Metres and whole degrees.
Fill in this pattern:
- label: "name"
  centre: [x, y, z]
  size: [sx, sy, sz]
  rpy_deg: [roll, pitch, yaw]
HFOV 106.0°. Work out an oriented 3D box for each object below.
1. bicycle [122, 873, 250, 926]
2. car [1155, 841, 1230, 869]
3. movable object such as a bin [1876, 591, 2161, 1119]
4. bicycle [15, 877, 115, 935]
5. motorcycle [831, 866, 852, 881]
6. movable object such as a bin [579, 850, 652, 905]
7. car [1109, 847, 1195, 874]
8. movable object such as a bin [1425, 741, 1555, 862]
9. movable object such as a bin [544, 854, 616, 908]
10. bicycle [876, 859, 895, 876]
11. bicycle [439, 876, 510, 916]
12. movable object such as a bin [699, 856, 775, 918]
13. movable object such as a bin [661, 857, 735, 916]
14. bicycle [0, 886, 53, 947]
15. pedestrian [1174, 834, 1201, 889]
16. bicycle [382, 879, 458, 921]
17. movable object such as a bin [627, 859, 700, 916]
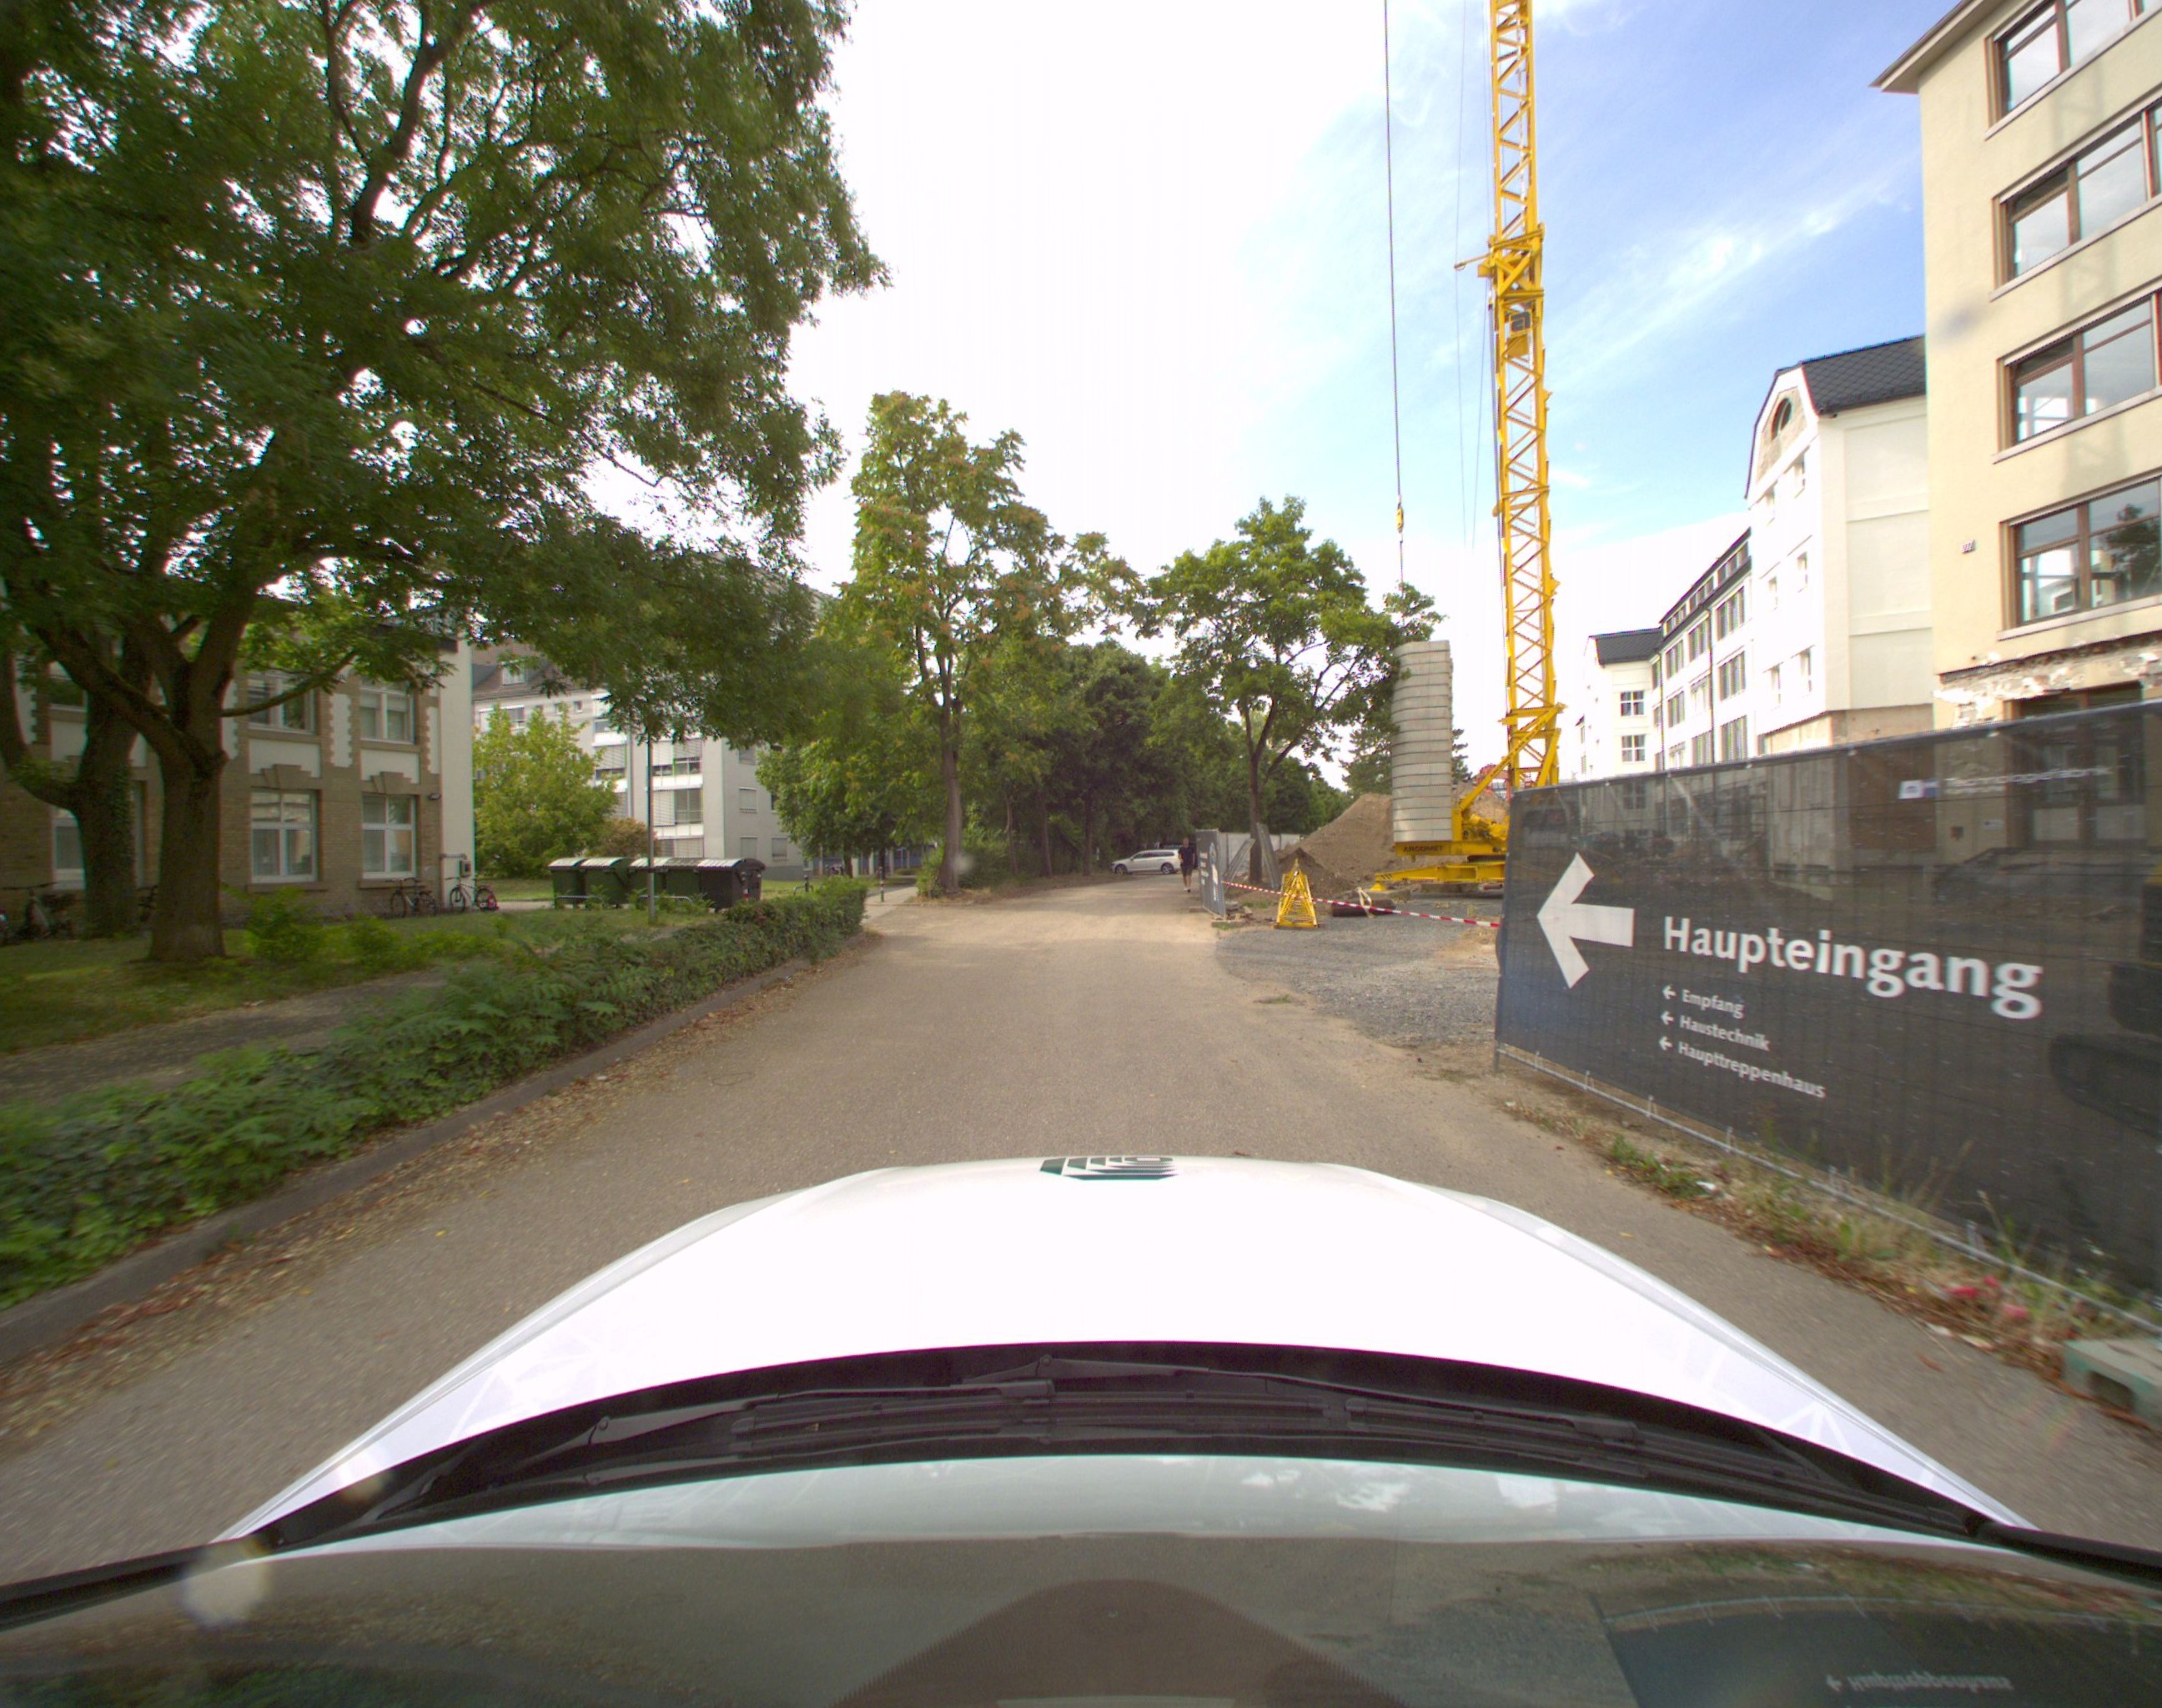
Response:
- label: "bicycle"
  centre: [-19.140, 0.963, 17.446]
  size: [1.967, 1.043, 0.594]
  rpy_deg: [-1, 0, -3]
- label: "car"
  centre: [8.105, 0.071, 59.173]
  size: [5.002, 1.953, 2.011]
  rpy_deg: [-1, 0, 21]
- label: "movable object such as a bin"
  centre: [6.231, -0.008, 3.629]
  size: [2.477, 2.443, 3.066]
  rpy_deg: [-1, 0, 6]
- label: "bicycle"
  centre: [-19.525, 0.974, 15.649]
  size: [1.954, 1.043, 0.598]
  rpy_deg: [-1, 0, 20]
- label: "motorcycle"
  centre: [-21.891, 1.798, 74.479]
  size: [0.660, 1.290, 2.159]
  rpy_deg: [-1, 0, 22]
- label: "movable object such as a bin"
  centre: [-12.378, 0.612, 21.682]
  size: [1.268, 1.430, 1.128]
  rpy_deg: [-1, 0, 23]
- label: "car"
  centre: [4.226, 0.370, 48.309]
  size: [4.755, 1.488, 2.009]
  rpy_deg: [-1, 0, 17]
- label: "movable object such as a bin"
  centre: [25.412, -2.959, 50.211]
  size: [3.809, 6.669, 11.052]
  rpy_deg: [-1, 0, 45]
- label: "movable object such as a bin"
  centre: [-13.649, 0.716, 22.199]
  size: [1.268, 1.430, 1.128]
  rpy_deg: [-1, 0, 23]
- label: "bicycle"
  centre: [-14.036, 0.982, 58.485]
  size: [0.645, 1.181, 1.905]
  rpy_deg: [-1, 0, 10]
- label: "bicycle"
  centre: [-16.680, 1.143, 22.394]
  size: [1.954, 1.043, 0.598]
  rpy_deg: [-1, 0, 20]
- label: "movable object such as a bin"
  centre: [-8.339, 0.774, 19.770]
  size: [1.268, 1.430, 1.128]
  rpy_deg: [-1, 0, 23]
- label: "movable object such as a bin"
  centre: [-9.657, 0.791, 20.563]
  size: [1.268, 1.430, 1.128]
  rpy_deg: [-1, 0, 23]
- label: "bicycle"
  centre: [-19.771, 1.126, 14.899]
  size: [1.954, 1.043, 0.598]
  rpy_deg: [-1, 0, 20]
- label: "pedestrian"
  centre: [3.568, 0.248, 27.315]
  size: [0.741, 1.790, 0.734]
  rpy_deg: [-1, 0, 18]
- label: "bicycle"
  centre: [-17.143, 1.183, 21.108]
  size: [1.954, 1.043, 0.598]
  rpy_deg: [-1, 0, 20]
- label: "movable object such as a bin"
  centre: [-10.850, 0.852, 21.196]
  size: [1.268, 1.430, 1.128]
  rpy_deg: [-1, 0, 23]
